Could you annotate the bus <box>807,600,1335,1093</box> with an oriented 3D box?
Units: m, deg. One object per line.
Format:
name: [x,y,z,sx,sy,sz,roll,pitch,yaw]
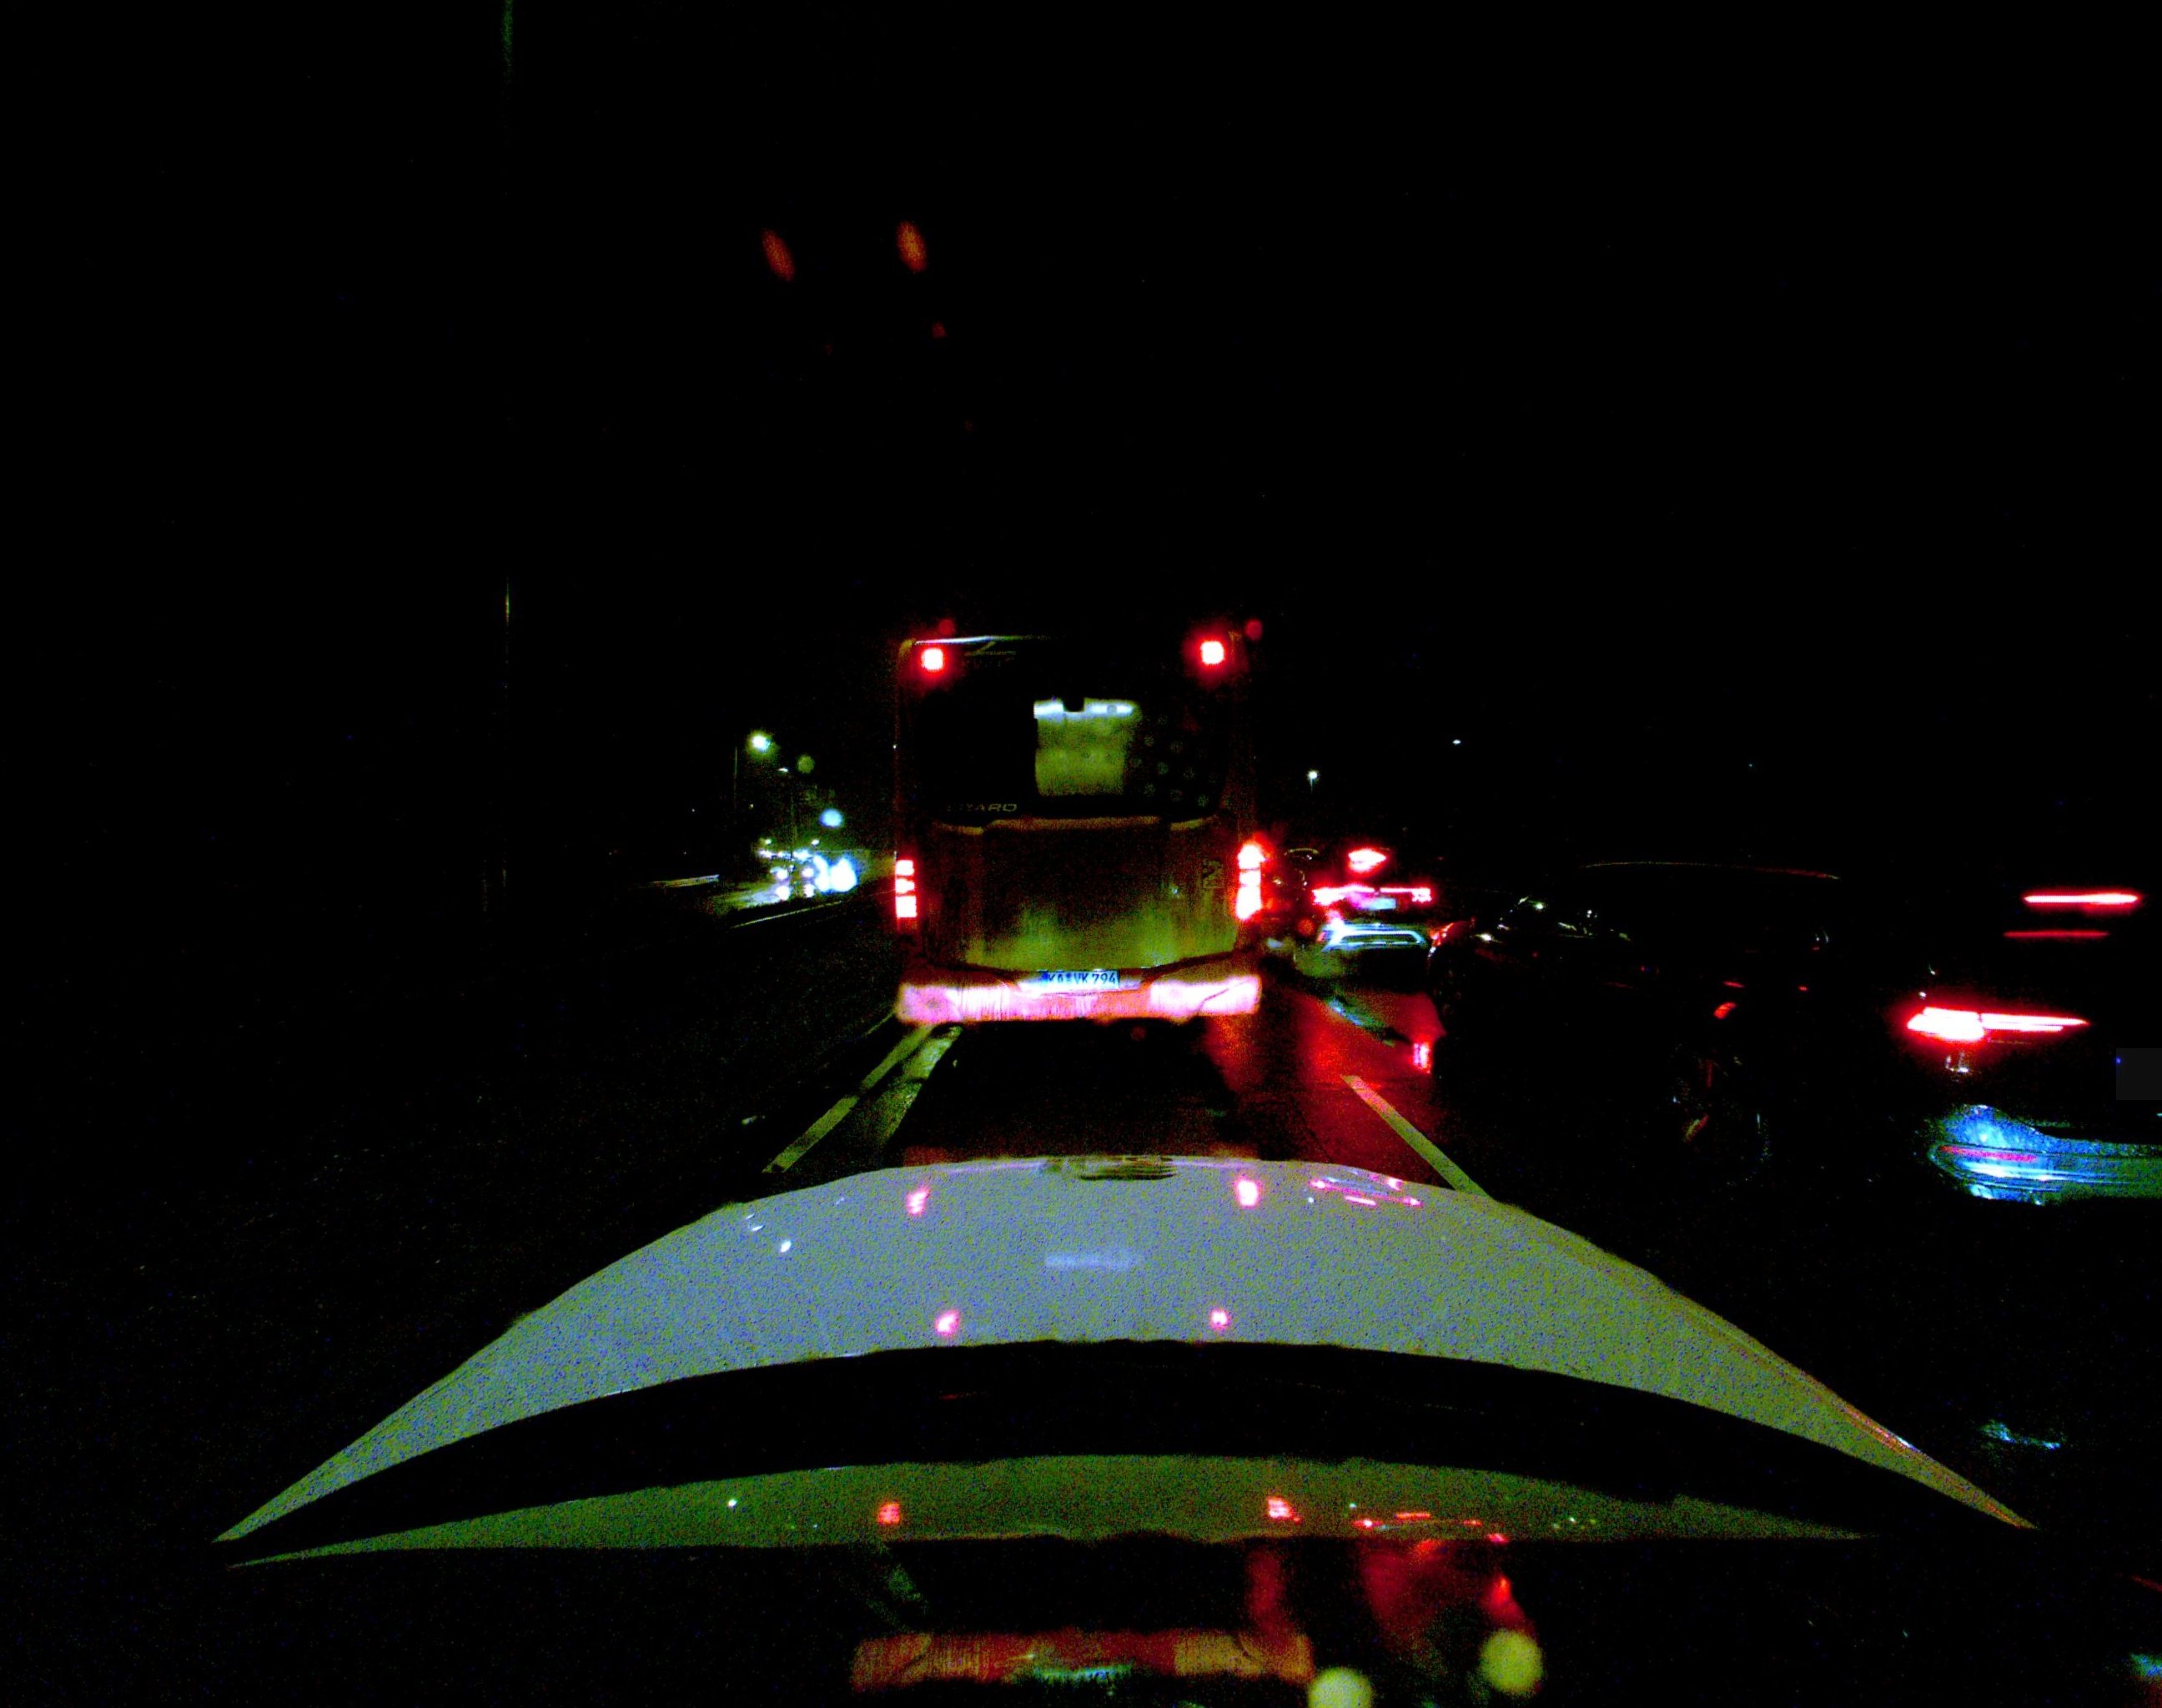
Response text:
bus: [-0.031,-0.155,9.956,3.274,3.050,9.544,-2,1,0]

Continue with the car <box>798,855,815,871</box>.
car: [-30.414,0.989,90.147,1.771,1.631,4.222,-1,0,-20]

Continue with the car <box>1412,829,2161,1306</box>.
car: [3.686,0.710,4.880,1.666,1.506,4.561,1,-1,2]

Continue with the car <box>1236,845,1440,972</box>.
car: [3.496,0.679,11.842,1.672,1.521,3.959,0,-1,-1]

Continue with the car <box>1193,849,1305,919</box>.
car: [3.600,0.605,18.075,1.680,1.330,3.960,-2,0,1]

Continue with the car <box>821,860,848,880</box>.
car: [-18.352,1.177,60.673,1.715,1.423,4.643,-2,0,-15]

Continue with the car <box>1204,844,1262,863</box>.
car: [12.713,-0.069,68.394,4.477,1.519,1.853,0,2,-6]

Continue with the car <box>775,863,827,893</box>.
car: [-15.423,1.307,45.104,1.994,1.508,4.821,-2,0,-11]

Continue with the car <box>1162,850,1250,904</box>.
car: [3.559,0.639,23.896,1.987,1.441,3.999,0,-1,0]
